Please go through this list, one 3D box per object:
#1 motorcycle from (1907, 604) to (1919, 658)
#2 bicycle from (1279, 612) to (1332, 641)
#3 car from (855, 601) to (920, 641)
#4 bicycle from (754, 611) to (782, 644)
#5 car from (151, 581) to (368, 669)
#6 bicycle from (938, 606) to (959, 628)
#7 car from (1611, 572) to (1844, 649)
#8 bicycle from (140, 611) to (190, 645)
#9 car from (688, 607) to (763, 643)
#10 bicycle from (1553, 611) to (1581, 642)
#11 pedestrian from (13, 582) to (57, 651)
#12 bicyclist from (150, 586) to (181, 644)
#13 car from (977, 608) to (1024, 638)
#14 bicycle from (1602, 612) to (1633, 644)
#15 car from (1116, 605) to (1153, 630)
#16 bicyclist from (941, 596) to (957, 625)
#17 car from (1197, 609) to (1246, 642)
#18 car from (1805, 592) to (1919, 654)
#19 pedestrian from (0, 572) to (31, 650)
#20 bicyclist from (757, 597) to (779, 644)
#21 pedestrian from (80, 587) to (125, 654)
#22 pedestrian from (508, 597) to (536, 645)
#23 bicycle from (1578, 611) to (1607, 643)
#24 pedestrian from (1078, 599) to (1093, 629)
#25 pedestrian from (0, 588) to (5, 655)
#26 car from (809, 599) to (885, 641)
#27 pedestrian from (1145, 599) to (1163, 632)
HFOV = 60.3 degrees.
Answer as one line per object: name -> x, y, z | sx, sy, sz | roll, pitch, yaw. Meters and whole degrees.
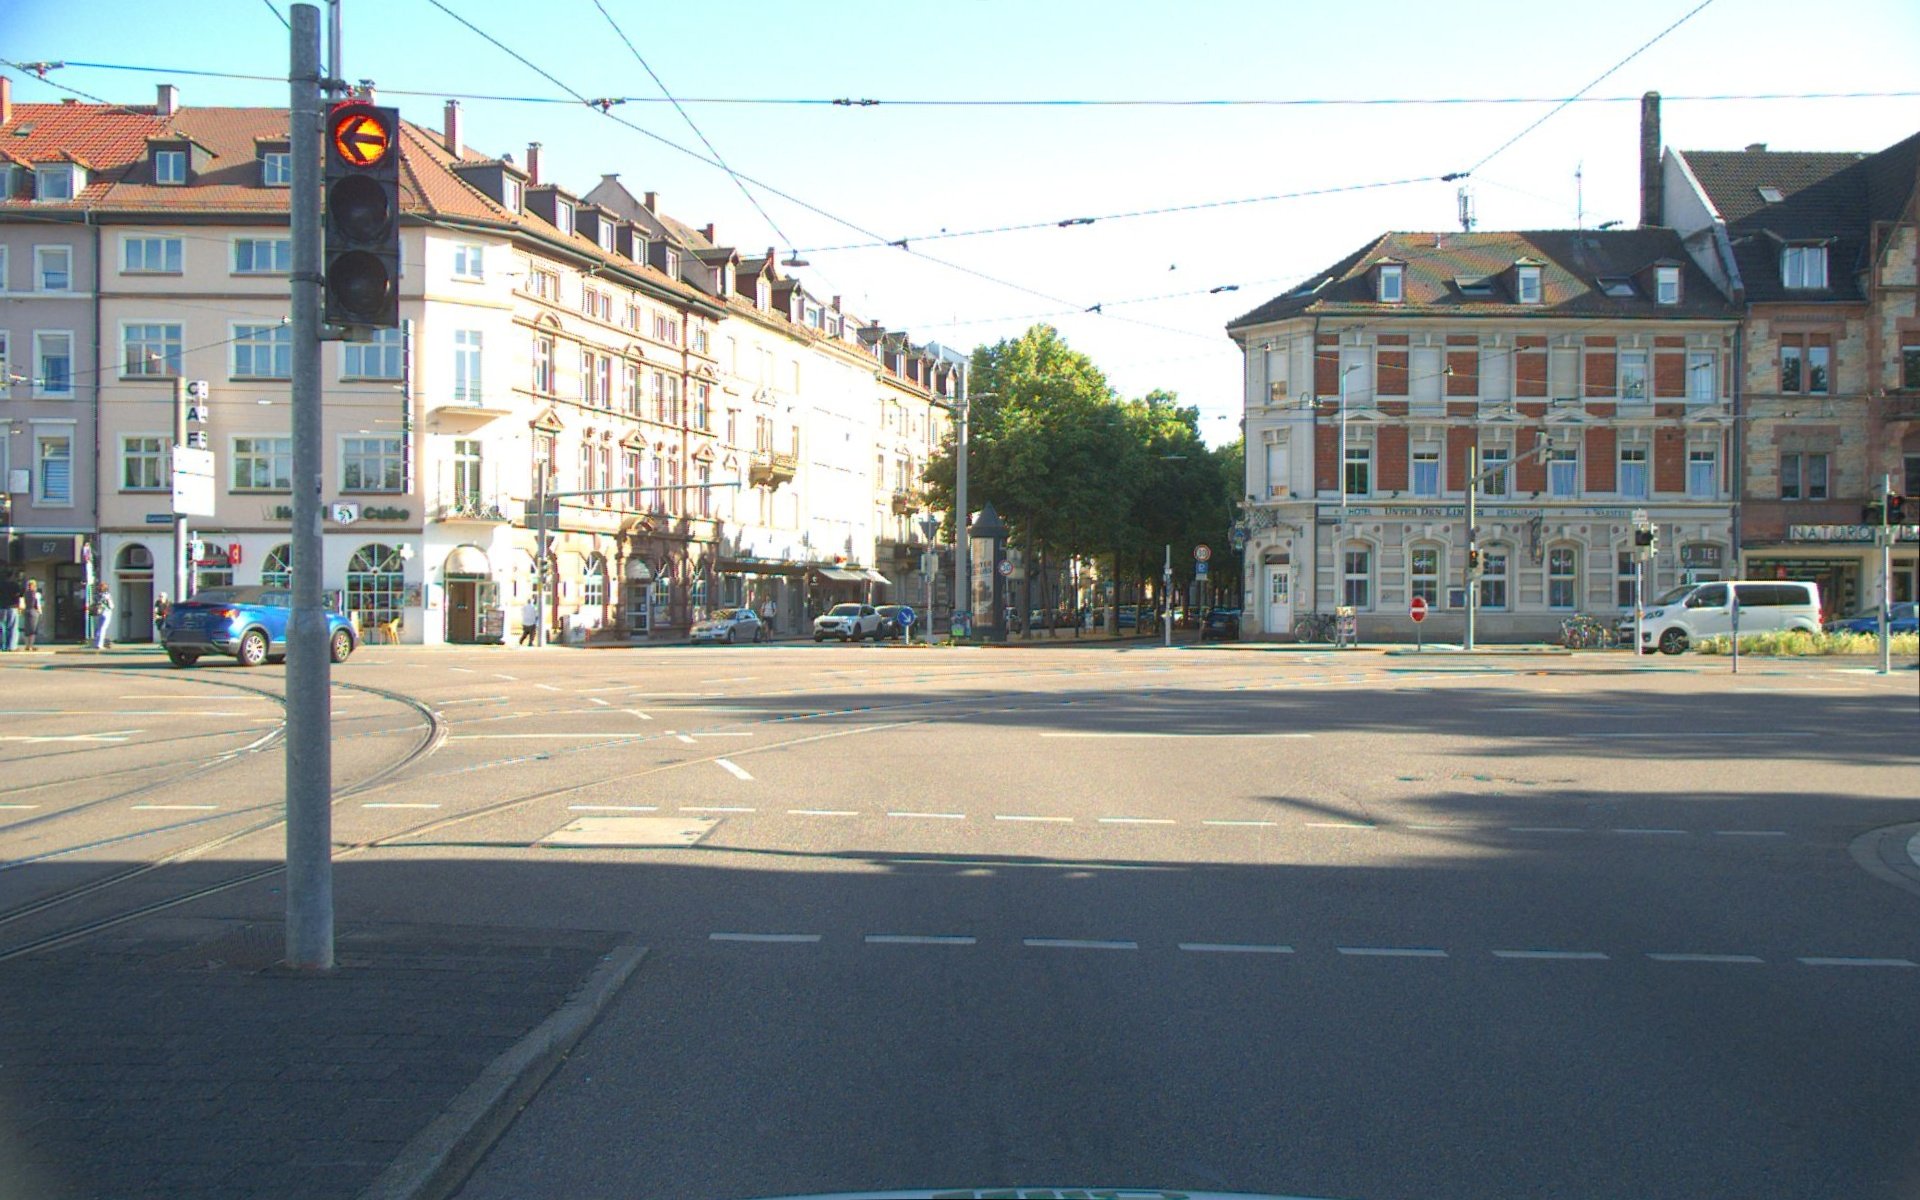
motorcycle -> 25.495, 0.808, 42.276 | 2.090, 1.357, 0.797 | 1, 0, 9
bicycle -> 11.981, 0.908, 57.278 | 1.764, 0.979, 0.604 | 1, 0, 14
car -> -3.187, 0.934, 73.543 | 1.786, 1.715, 3.877 | 1, 0, 16
bicycle -> -7.532, 1.070, 65.038 | 0.553, 1.276, 1.558 | 1, 0, 14
car -> -13.762, 0.453, 32.776 | 1.786, 1.602, 4.202 | 0, 0, 14
bicycle -> -0.634, 0.950, 93.025 | 0.659, 1.228, 1.822 | 1, 0, 17
car -> 19.722, 0.261, 42.642 | 5.093, 1.886, 2.000 | 0, 0, -1
bicycle -> -24.956, 0.868, 51.959 | 0.608, 1.048, 1.755 | 1, 0, 4
car -> -9.447, 0.988, 66.926 | 1.624, 1.398, 3.894 | 1, 0, 14
bicycle -> 19.809, 0.862, 54.025 | 0.749, 0.979, 2.211 | 1, 0, 17
pedestrian -> -22.945, 0.414, 41.037 | 0.571, 1.677, 0.840 | 1, -1, -1
bicyclist -> -24.945, 0.468, 51.956 | 0.608, 1.822, 0.615 | 1, -1, 4
car -> 2.269, 1.274, 92.618 | 1.764, 1.603, 3.893 | 1, 0, 15
bicycle -> 21.362, 0.889, 53.759 | 0.749, 1.001, 2.211 | 1, 0, 17
car -> 12.330, 1.231, 116.770 | 1.951, 1.713, 4.003 | 1, 0, 15
bicyclist -> -0.628, 0.585, 93.031 | 0.659, 1.595, 0.748 | 1, -1, 17
car -> 13.097, 1.278, 82.683 | 1.719, 1.583, 4.001 | 1, 0, 20
car -> 25.920, 0.641, 46.019 | 3.905, 1.650, 1.804 | 1, 0, 0
pedestrian -> -22.953, 0.269, 40.028 | 0.516, 1.854, 0.676 | 1, -1, -1
bicyclist -> -7.548, 0.791, 64.993 | 0.553, 1.835, 0.915 | 1, -1, 14
pedestrian -> -21.248, 0.506, 40.982 | 0.655, 1.622, 0.815 | 1, -1, -1
pedestrian -> -15.348, 0.726, 57.966 | 0.556, 1.671, 0.792 | 1, -1, 22
bicycle -> 20.563, 0.875, 53.788 | 0.749, 0.985, 2.211 | 1, 0, 17
pedestrian -> 8.818, 0.984, 116.263 | 0.923, 2.049, 0.827 | 1, -1, 14
pedestrian -> -24.344, 0.524, 41.274 | 0.561, 1.677, 0.727 | 1, -1, -1
car -> -4.544, 0.809, 67.166 | 1.764, 1.613, 4.162 | 1, 0, 16
pedestrian -> 11.995, 0.949, 102.331 | 0.941, 2.049, 0.918 | 1, -1, 0
